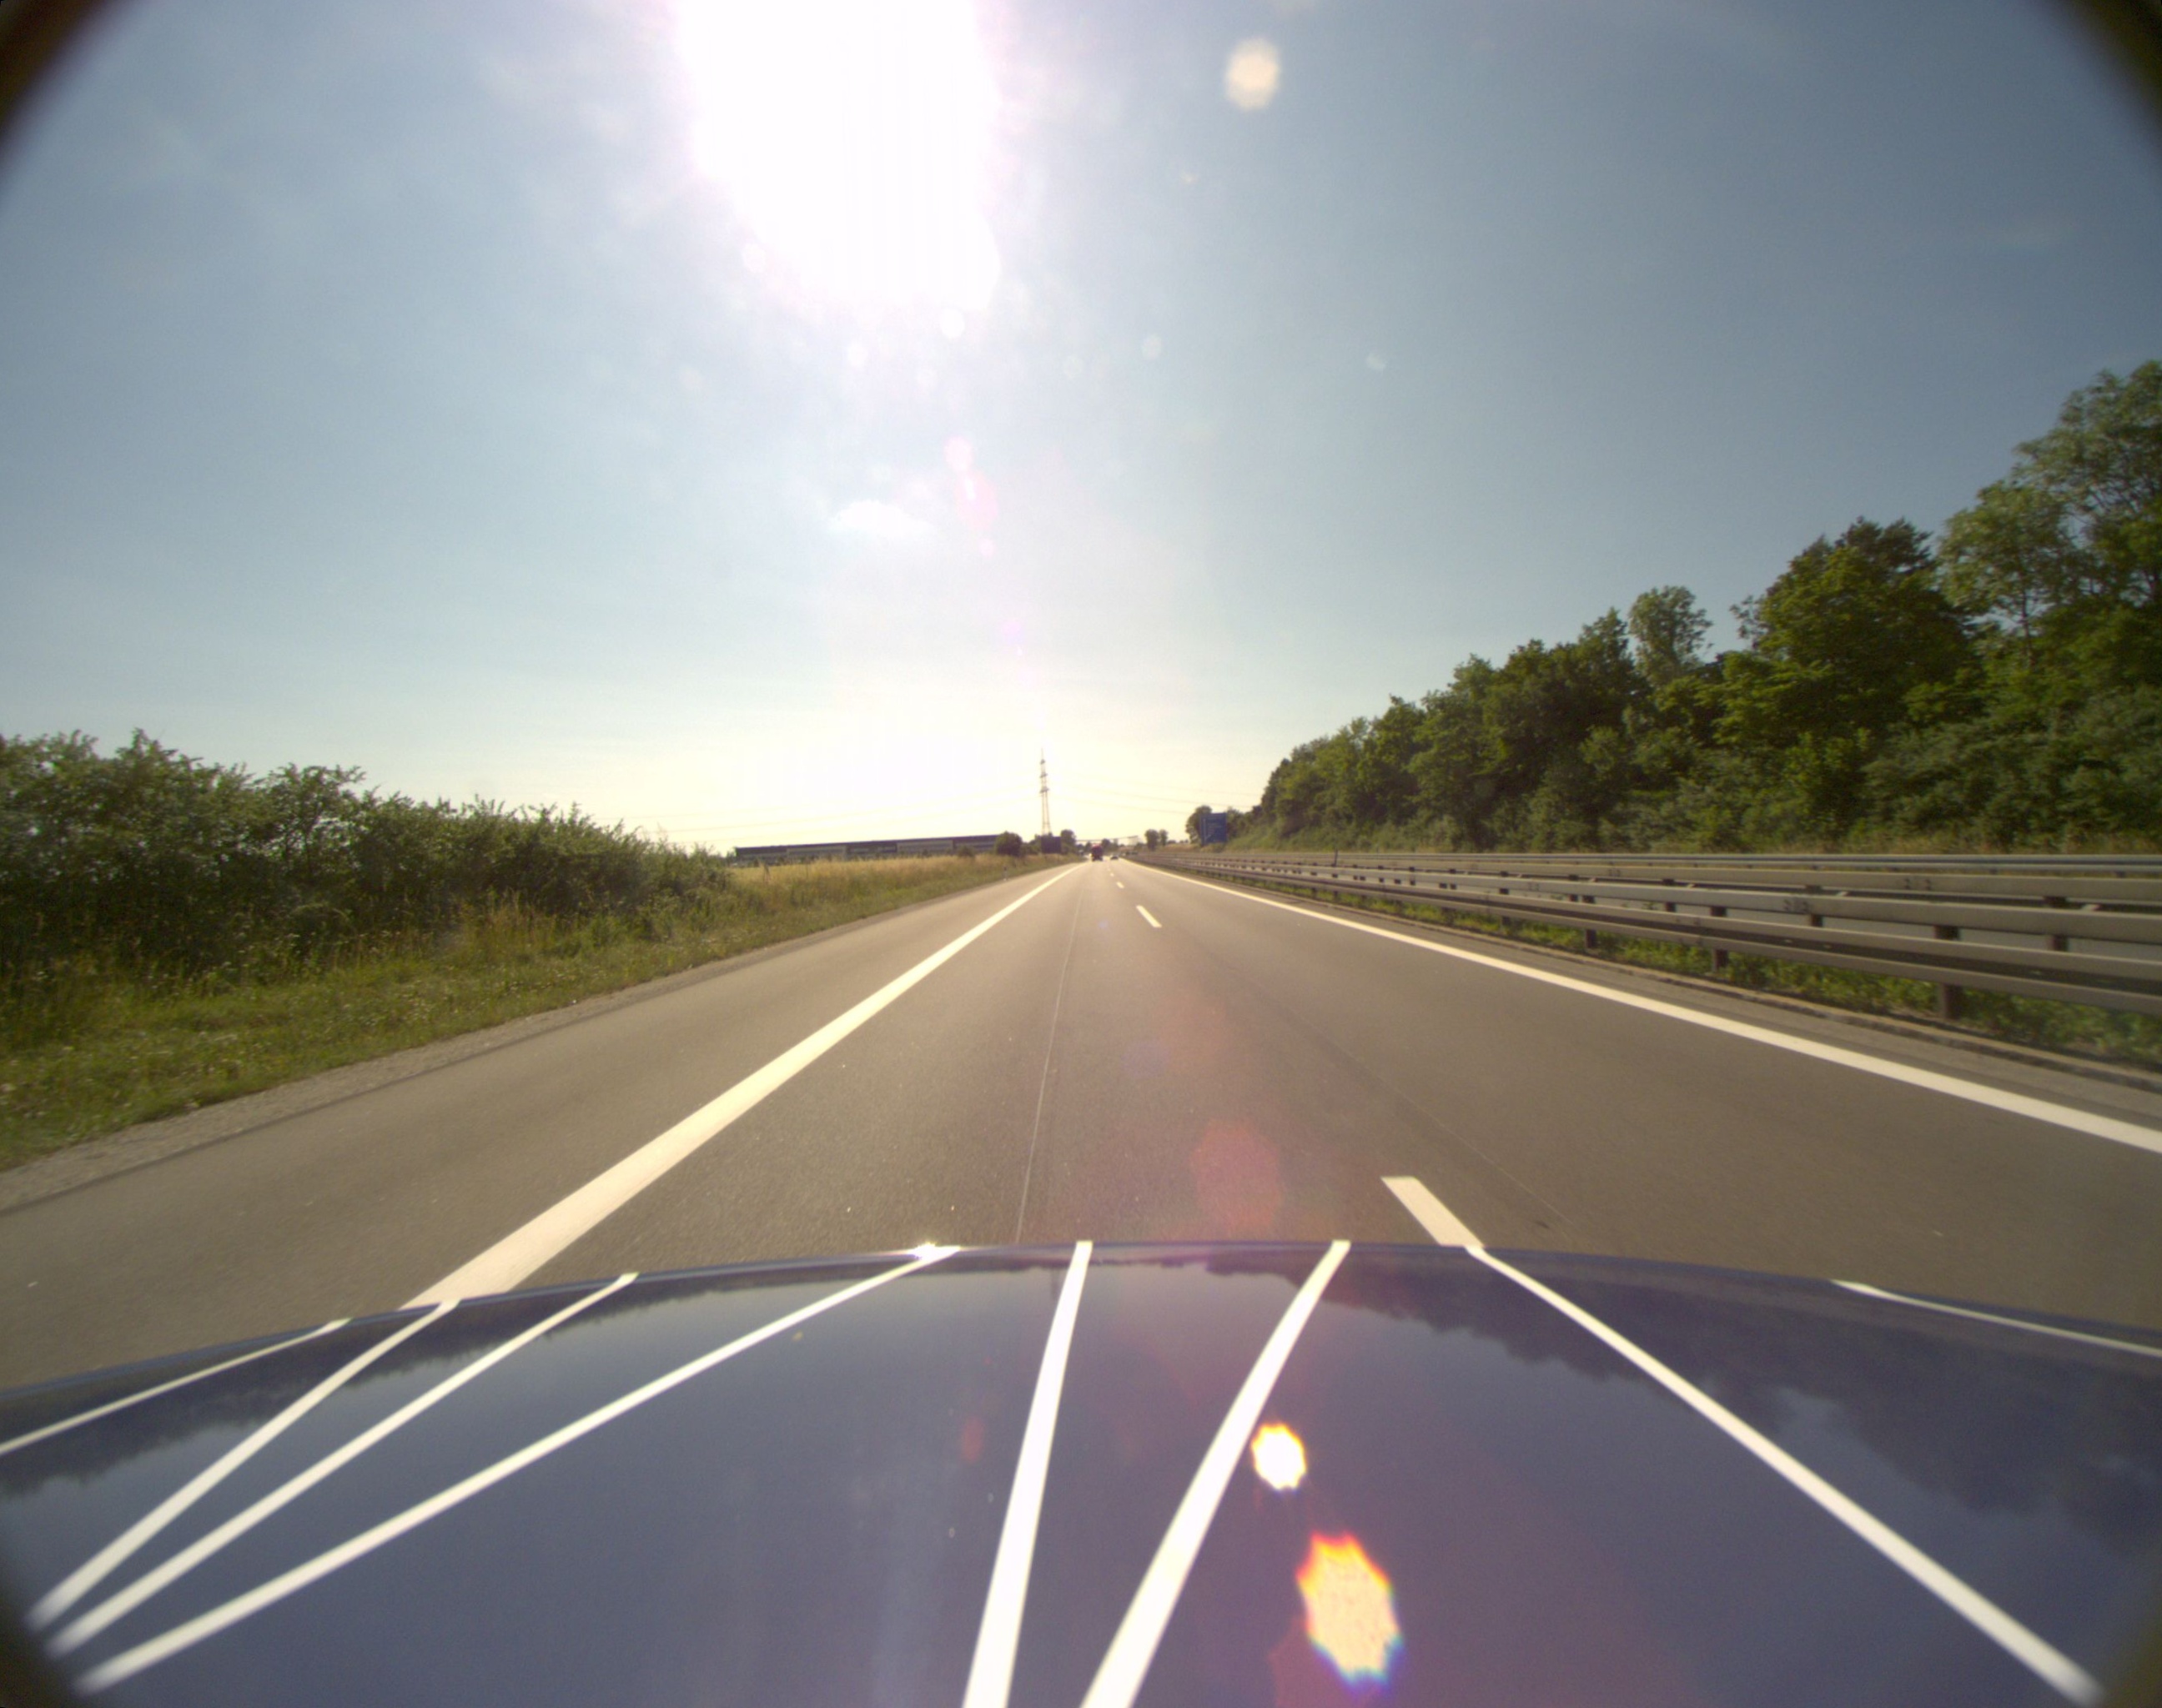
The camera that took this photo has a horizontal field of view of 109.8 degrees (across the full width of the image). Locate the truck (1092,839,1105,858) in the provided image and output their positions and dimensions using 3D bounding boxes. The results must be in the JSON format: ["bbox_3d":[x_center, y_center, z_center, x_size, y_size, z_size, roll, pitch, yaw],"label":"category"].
[{"bbox_3d":[3.903,-1.184,172.454,2.570,3.939,8.643,-4,0,1],"label":"truck"}]

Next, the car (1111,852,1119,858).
[{"bbox_3d":[7.886,0.291,176.754,1.860,1.361,4.000,-2,1,2],"label":"car"}]
